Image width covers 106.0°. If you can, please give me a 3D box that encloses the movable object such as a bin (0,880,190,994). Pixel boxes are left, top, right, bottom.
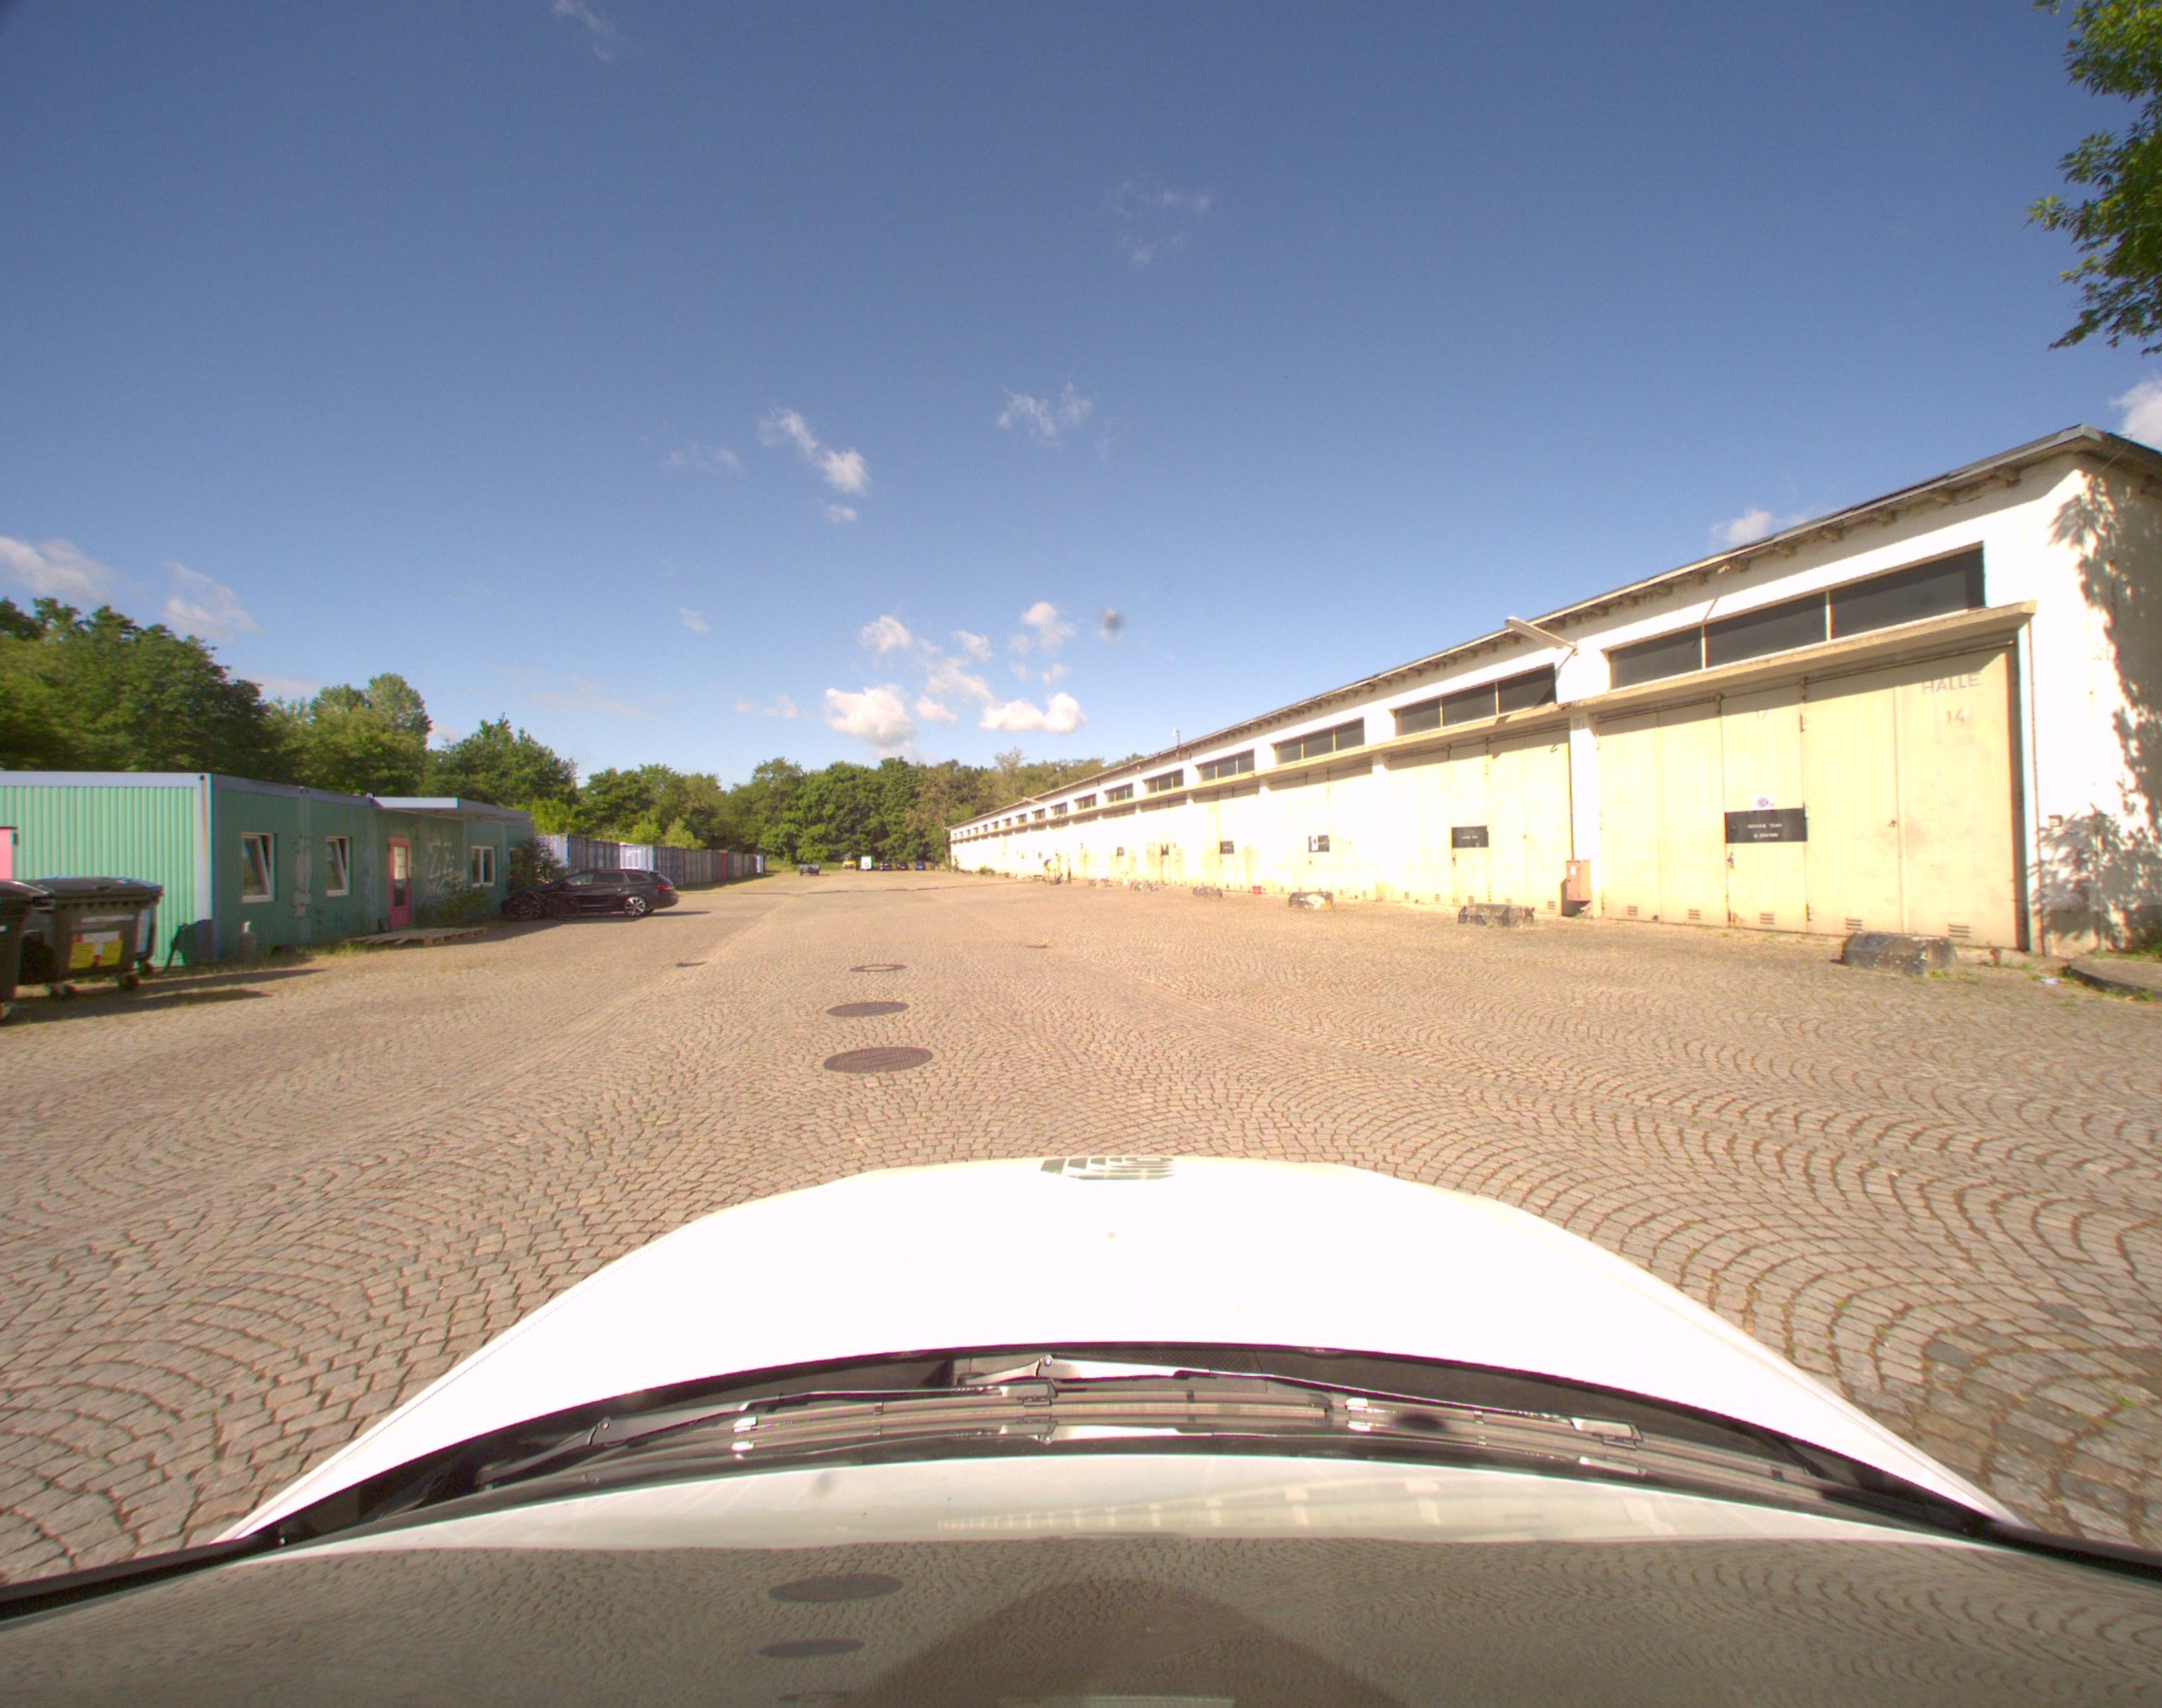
[{"bbox_3d":[-13.717,1.089,11.282,1.390,1.386,1.522,-1,0,-28],"label":"movable object such as a bin"}]

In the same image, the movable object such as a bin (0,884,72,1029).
[{"bbox_3d":[-11.304,1.026,8.075,1.516,1.386,1.395,-2,0,30],"label":"movable object such as a bin"}]

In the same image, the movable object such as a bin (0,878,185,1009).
[{"bbox_3d":[-12.416,1.045,9.964,1.298,1.422,1.528,-1,0,-15],"label":"movable object such as a bin"}]

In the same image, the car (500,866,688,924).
[{"bbox_3d":[-14.261,1.162,24.177,4.429,1.464,1.987,-1,0,-20],"label":"car"}]

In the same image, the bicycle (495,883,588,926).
[{"bbox_3d":[-14.744,1.360,22.317,1.880,1.027,1.032,-1,0,-19],"label":"bicycle"}]

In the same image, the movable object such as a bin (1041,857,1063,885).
[{"bbox_3d":[-1.546,0.881,42.751,0.877,1.401,1.095,-1,0,-17],"label":"movable object such as a bin"}]

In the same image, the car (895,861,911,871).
[{"bbox_3d":[-26.704,1.727,121.955,1.998,1.424,3.978,-2,0,-16],"label":"car"}]

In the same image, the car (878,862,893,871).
[{"bbox_3d":[-29.030,1.816,120.874,1.998,1.258,3.978,-2,0,-16],"label":"car"}]

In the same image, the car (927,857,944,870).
[{"bbox_3d":[-22.284,1.447,124.553,1.998,1.772,3.978,-2,0,-16],"label":"car"}]

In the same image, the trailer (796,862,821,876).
[{"bbox_3d":[-33.890,1.877,101.452,2.798,1.646,5.588,-2,0,-17],"label":"trailer"}]

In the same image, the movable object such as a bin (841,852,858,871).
[{"bbox_3d":[-34.523,1.110,121.316,2.238,2.657,3.975,-2,0,-18],"label":"movable object such as a bin"}]

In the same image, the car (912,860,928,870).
[{"bbox_3d":[-24.213,1.619,122.686,1.998,1.466,3.978,-2,0,-16],"label":"car"}]

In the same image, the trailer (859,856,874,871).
[{"bbox_3d":[-31.941,1.423,121.294,1.998,2.162,4.407,-2,0,-16],"label":"trailer"}]
